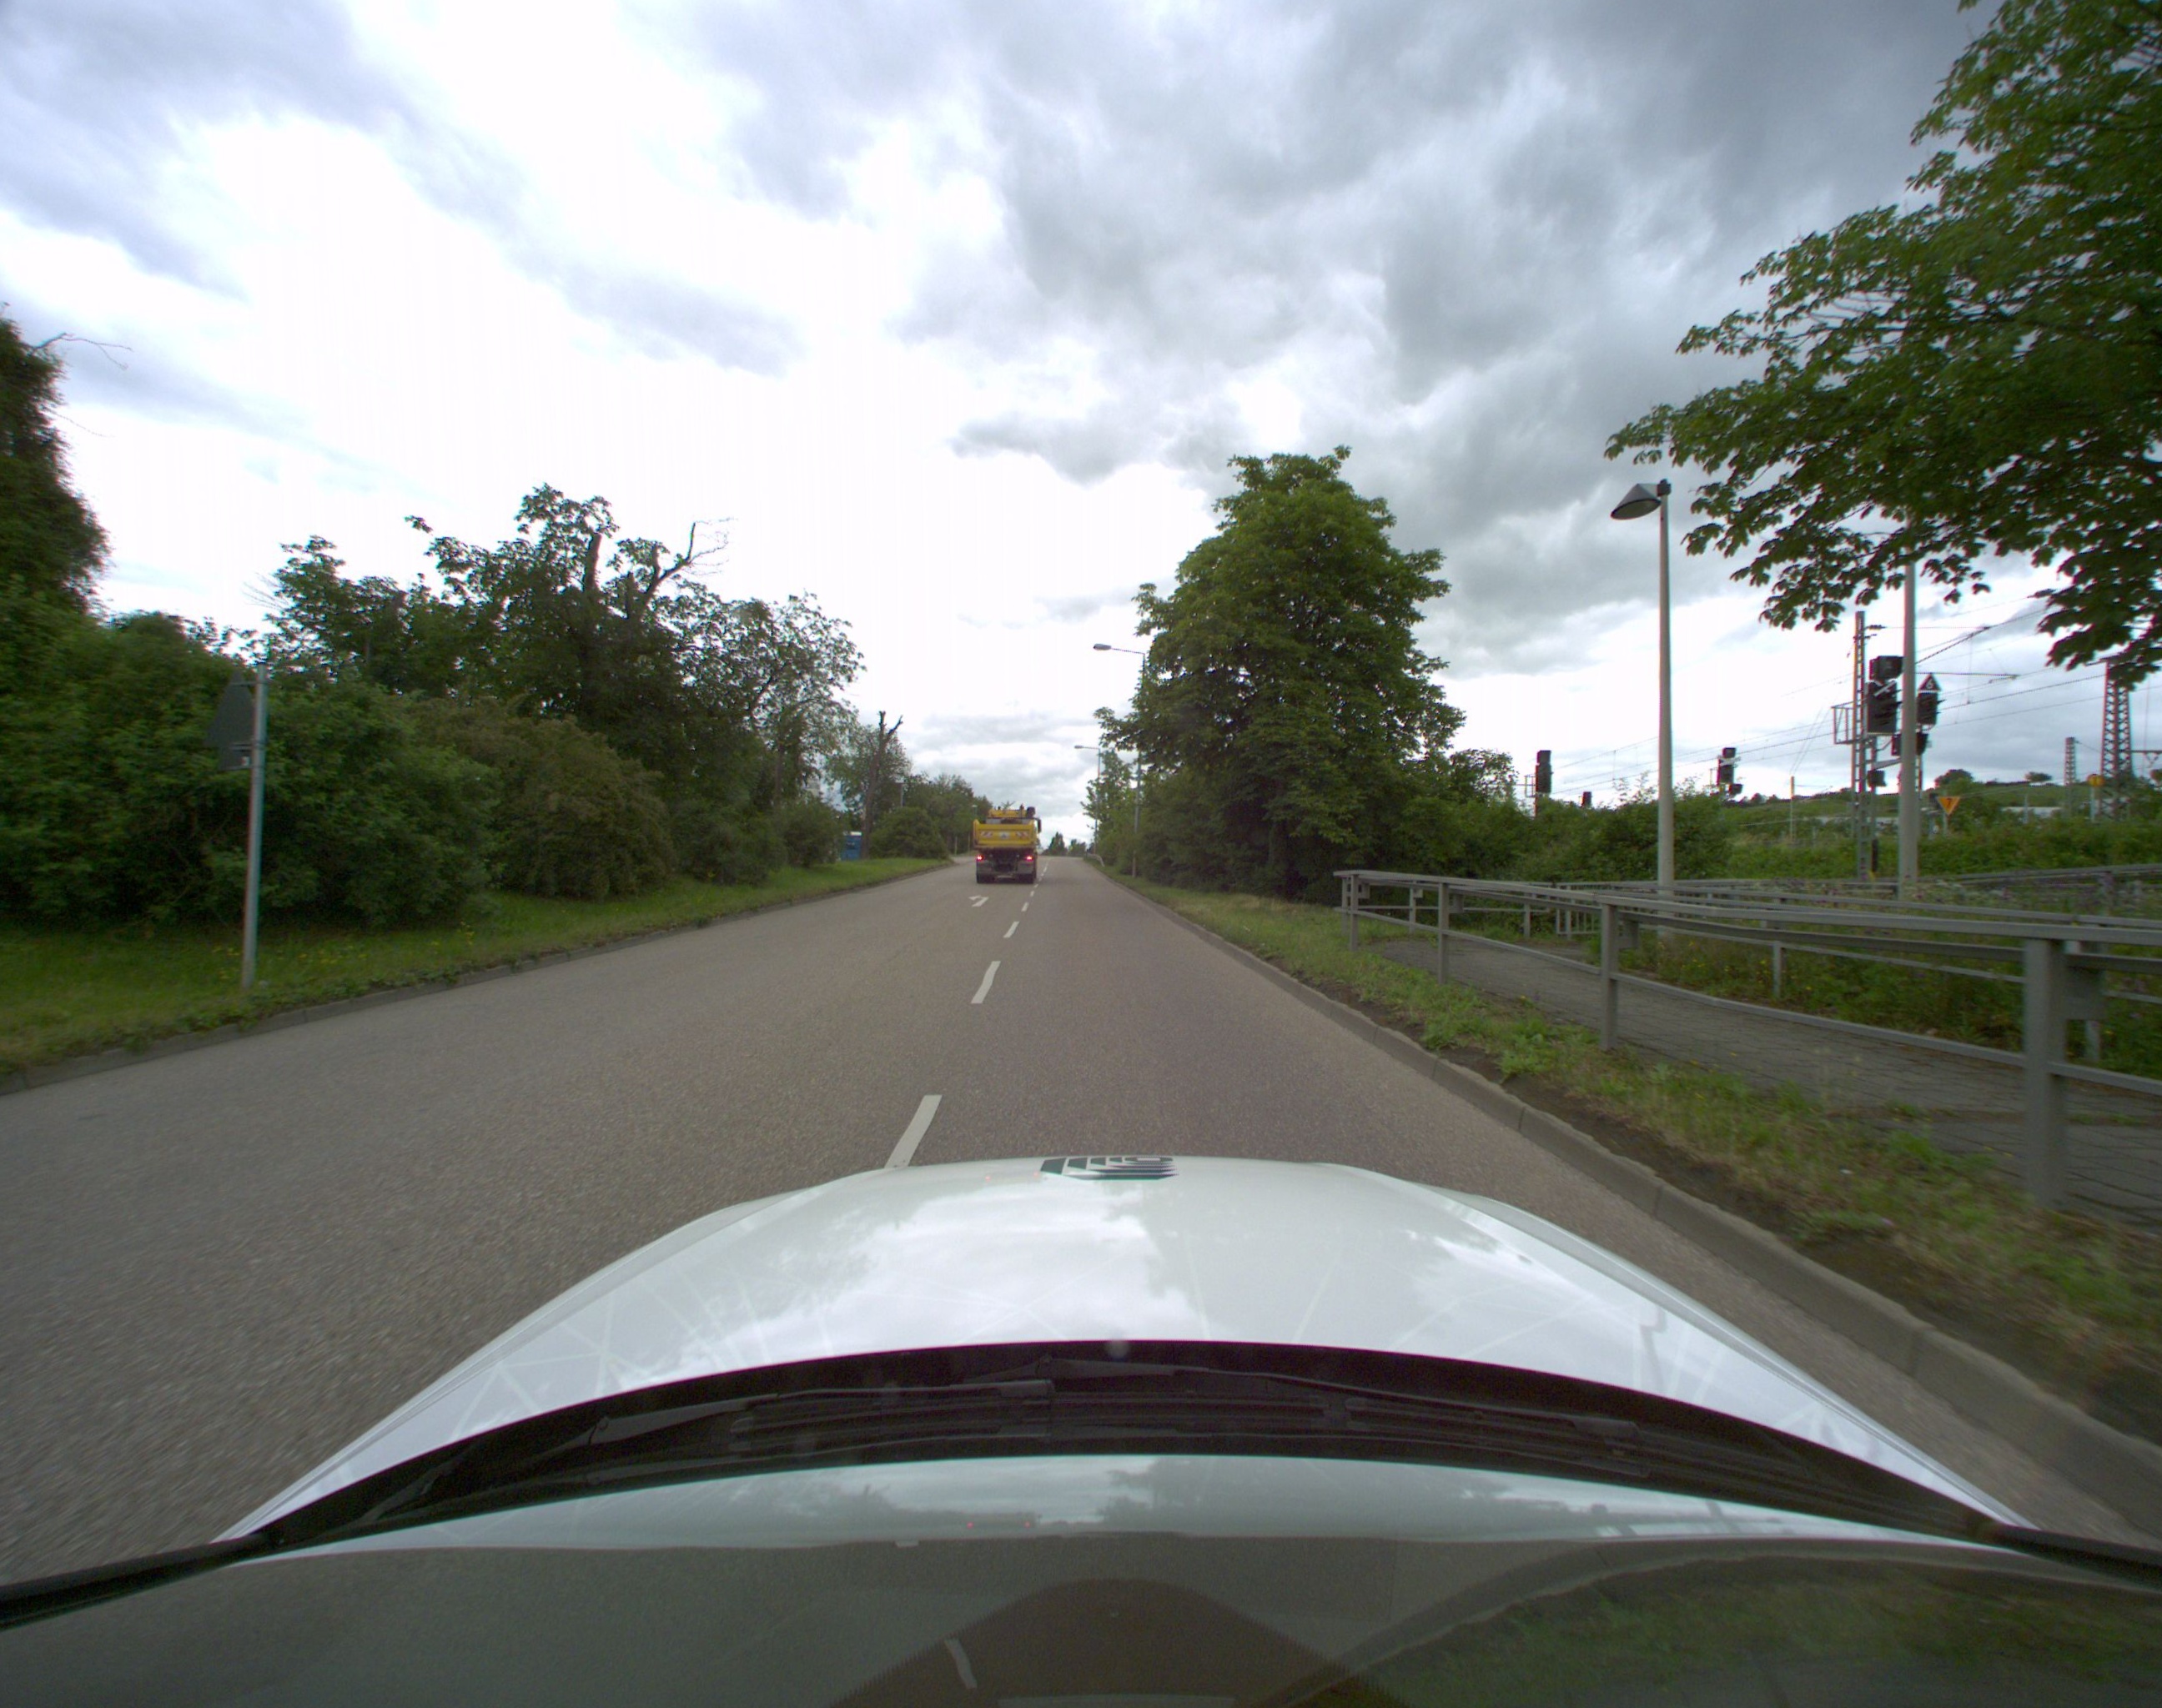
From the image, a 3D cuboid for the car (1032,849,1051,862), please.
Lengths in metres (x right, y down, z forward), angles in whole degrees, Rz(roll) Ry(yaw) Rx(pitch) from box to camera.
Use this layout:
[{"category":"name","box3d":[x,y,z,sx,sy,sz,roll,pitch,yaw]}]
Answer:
[{"category":"car","box3d":[-5.420,0.180,112.434,1.983,1.640,4.008,1,0,7]}]

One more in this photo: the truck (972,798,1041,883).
[{"category":"truck","box3d":[-3.302,-0.610,37.978,2.758,3.483,8.122,-1,1,-2]}]
